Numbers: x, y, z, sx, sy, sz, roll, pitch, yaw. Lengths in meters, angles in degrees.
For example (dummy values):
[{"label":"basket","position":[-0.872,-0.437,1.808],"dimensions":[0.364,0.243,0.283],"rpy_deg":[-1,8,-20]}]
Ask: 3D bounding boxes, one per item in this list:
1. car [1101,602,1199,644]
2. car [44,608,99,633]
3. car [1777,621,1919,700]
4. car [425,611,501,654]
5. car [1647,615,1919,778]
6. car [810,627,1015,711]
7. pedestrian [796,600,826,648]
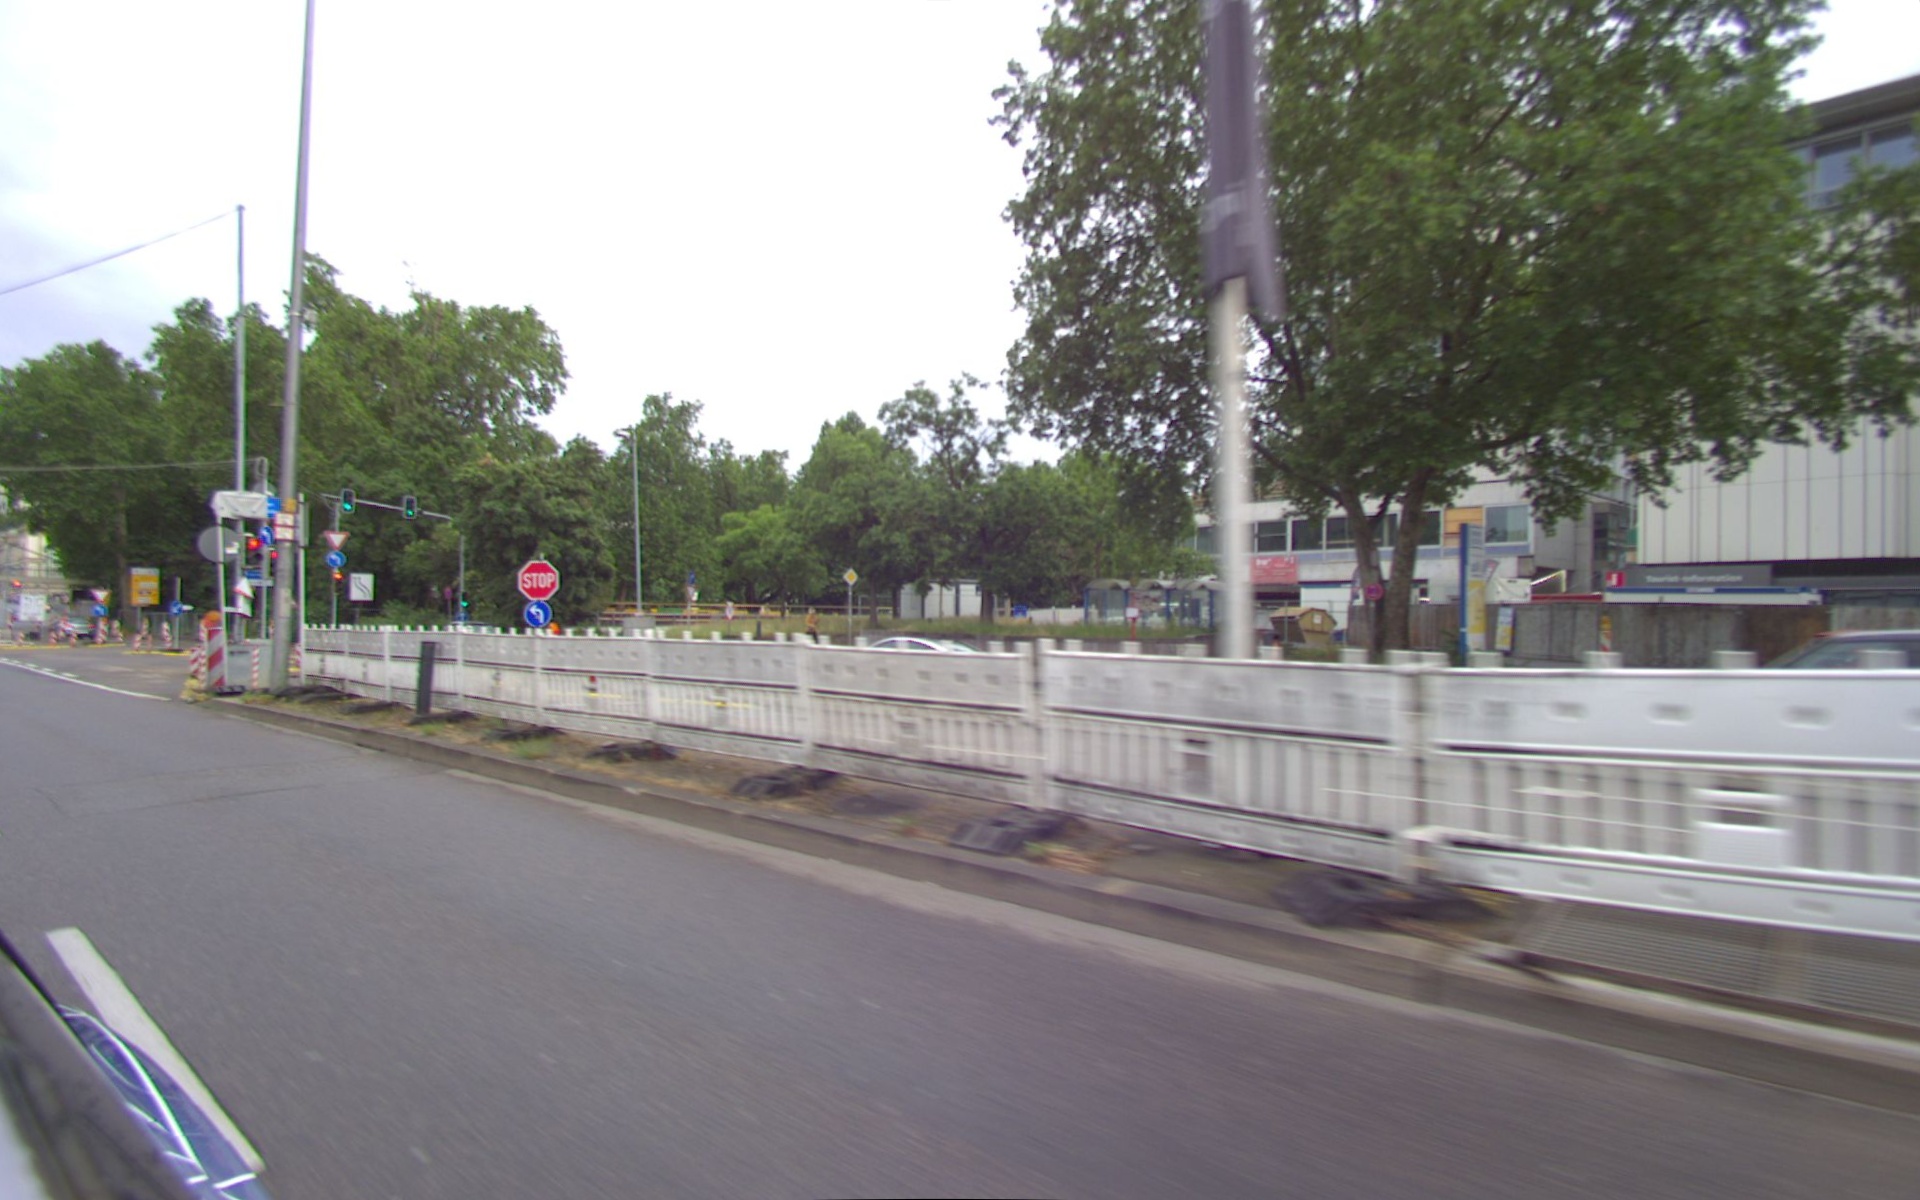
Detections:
[{"label":"car","position":[9.571,1.155,51.095],"dimensions":[4.782,2.029,2.029],"rpy_deg":[0,0,11]},{"label":"car","position":[-59.818,1.373,68.141],"dimensions":[4.143,1.554,1.646],"rpy_deg":[-3,-2,32]},{"label":"car","position":[19.873,1.260,21.479],"dimensions":[3.686,1.554,1.855],"rpy_deg":[1,-1,-6]},{"label":"car","position":[-19.278,1.237,39.249],"dimensions":[3.175,1.554,1.659],"rpy_deg":[0,-2,44]},{"label":"car","position":[10.734,1.052,11.767],"dimensions":[4.301,1.715,1.870],"rpy_deg":[-1,0,43]},{"label":"car","position":[-1.192,1.488,23.236],"dimensions":[4.821,1.644,1.971],"rpy_deg":[-1,0,45]},{"label":"pedestrian","position":[-5.549,0.880,37.602],"dimensions":[0.950,1.738,0.551],"rpy_deg":[-4,-3,41]}]
